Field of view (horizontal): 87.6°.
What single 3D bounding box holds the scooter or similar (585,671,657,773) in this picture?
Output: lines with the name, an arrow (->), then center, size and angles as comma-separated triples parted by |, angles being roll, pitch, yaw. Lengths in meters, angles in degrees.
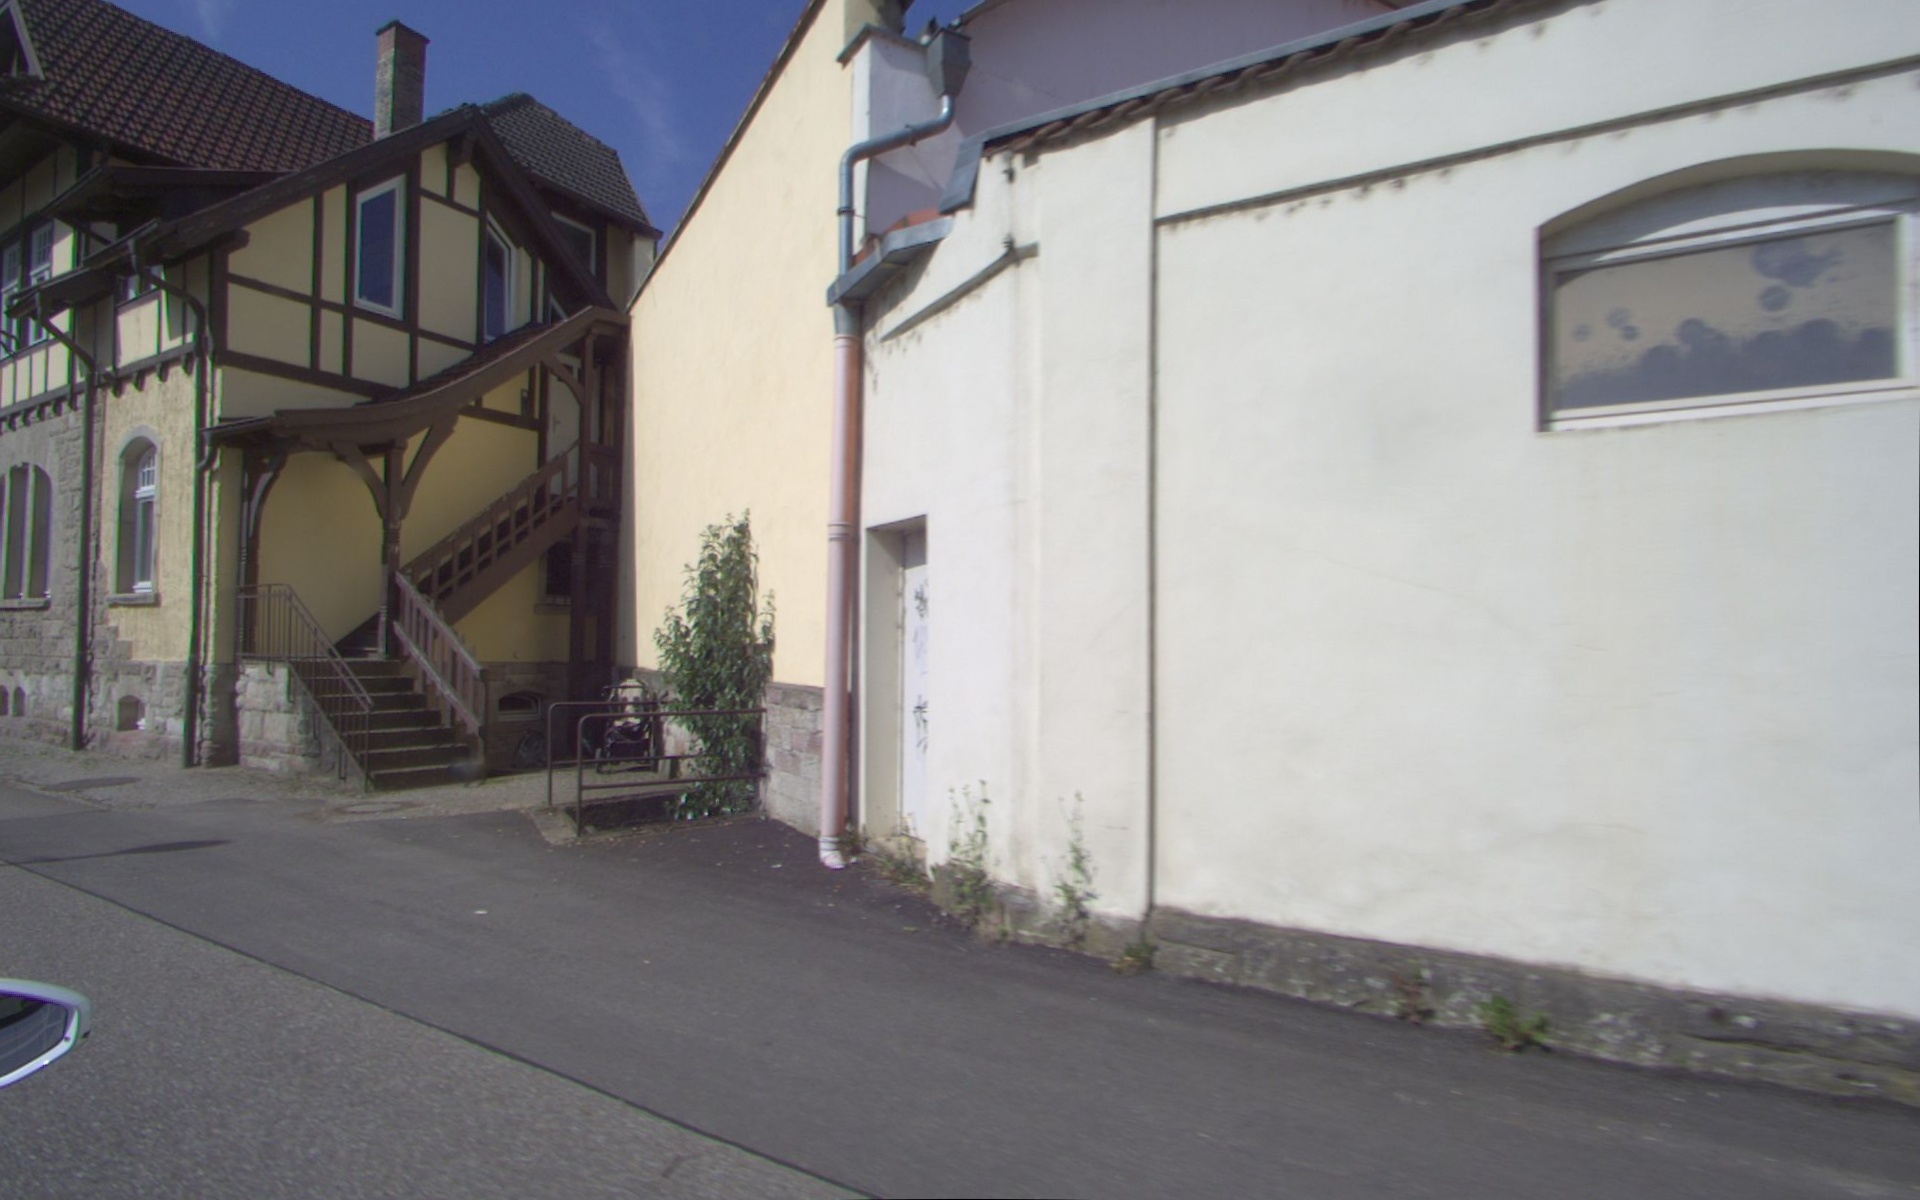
scooter or similar -> -3.895, 1.368, 11.478 | 0.613, 1.077, 1.006 | 2, -2, -28
